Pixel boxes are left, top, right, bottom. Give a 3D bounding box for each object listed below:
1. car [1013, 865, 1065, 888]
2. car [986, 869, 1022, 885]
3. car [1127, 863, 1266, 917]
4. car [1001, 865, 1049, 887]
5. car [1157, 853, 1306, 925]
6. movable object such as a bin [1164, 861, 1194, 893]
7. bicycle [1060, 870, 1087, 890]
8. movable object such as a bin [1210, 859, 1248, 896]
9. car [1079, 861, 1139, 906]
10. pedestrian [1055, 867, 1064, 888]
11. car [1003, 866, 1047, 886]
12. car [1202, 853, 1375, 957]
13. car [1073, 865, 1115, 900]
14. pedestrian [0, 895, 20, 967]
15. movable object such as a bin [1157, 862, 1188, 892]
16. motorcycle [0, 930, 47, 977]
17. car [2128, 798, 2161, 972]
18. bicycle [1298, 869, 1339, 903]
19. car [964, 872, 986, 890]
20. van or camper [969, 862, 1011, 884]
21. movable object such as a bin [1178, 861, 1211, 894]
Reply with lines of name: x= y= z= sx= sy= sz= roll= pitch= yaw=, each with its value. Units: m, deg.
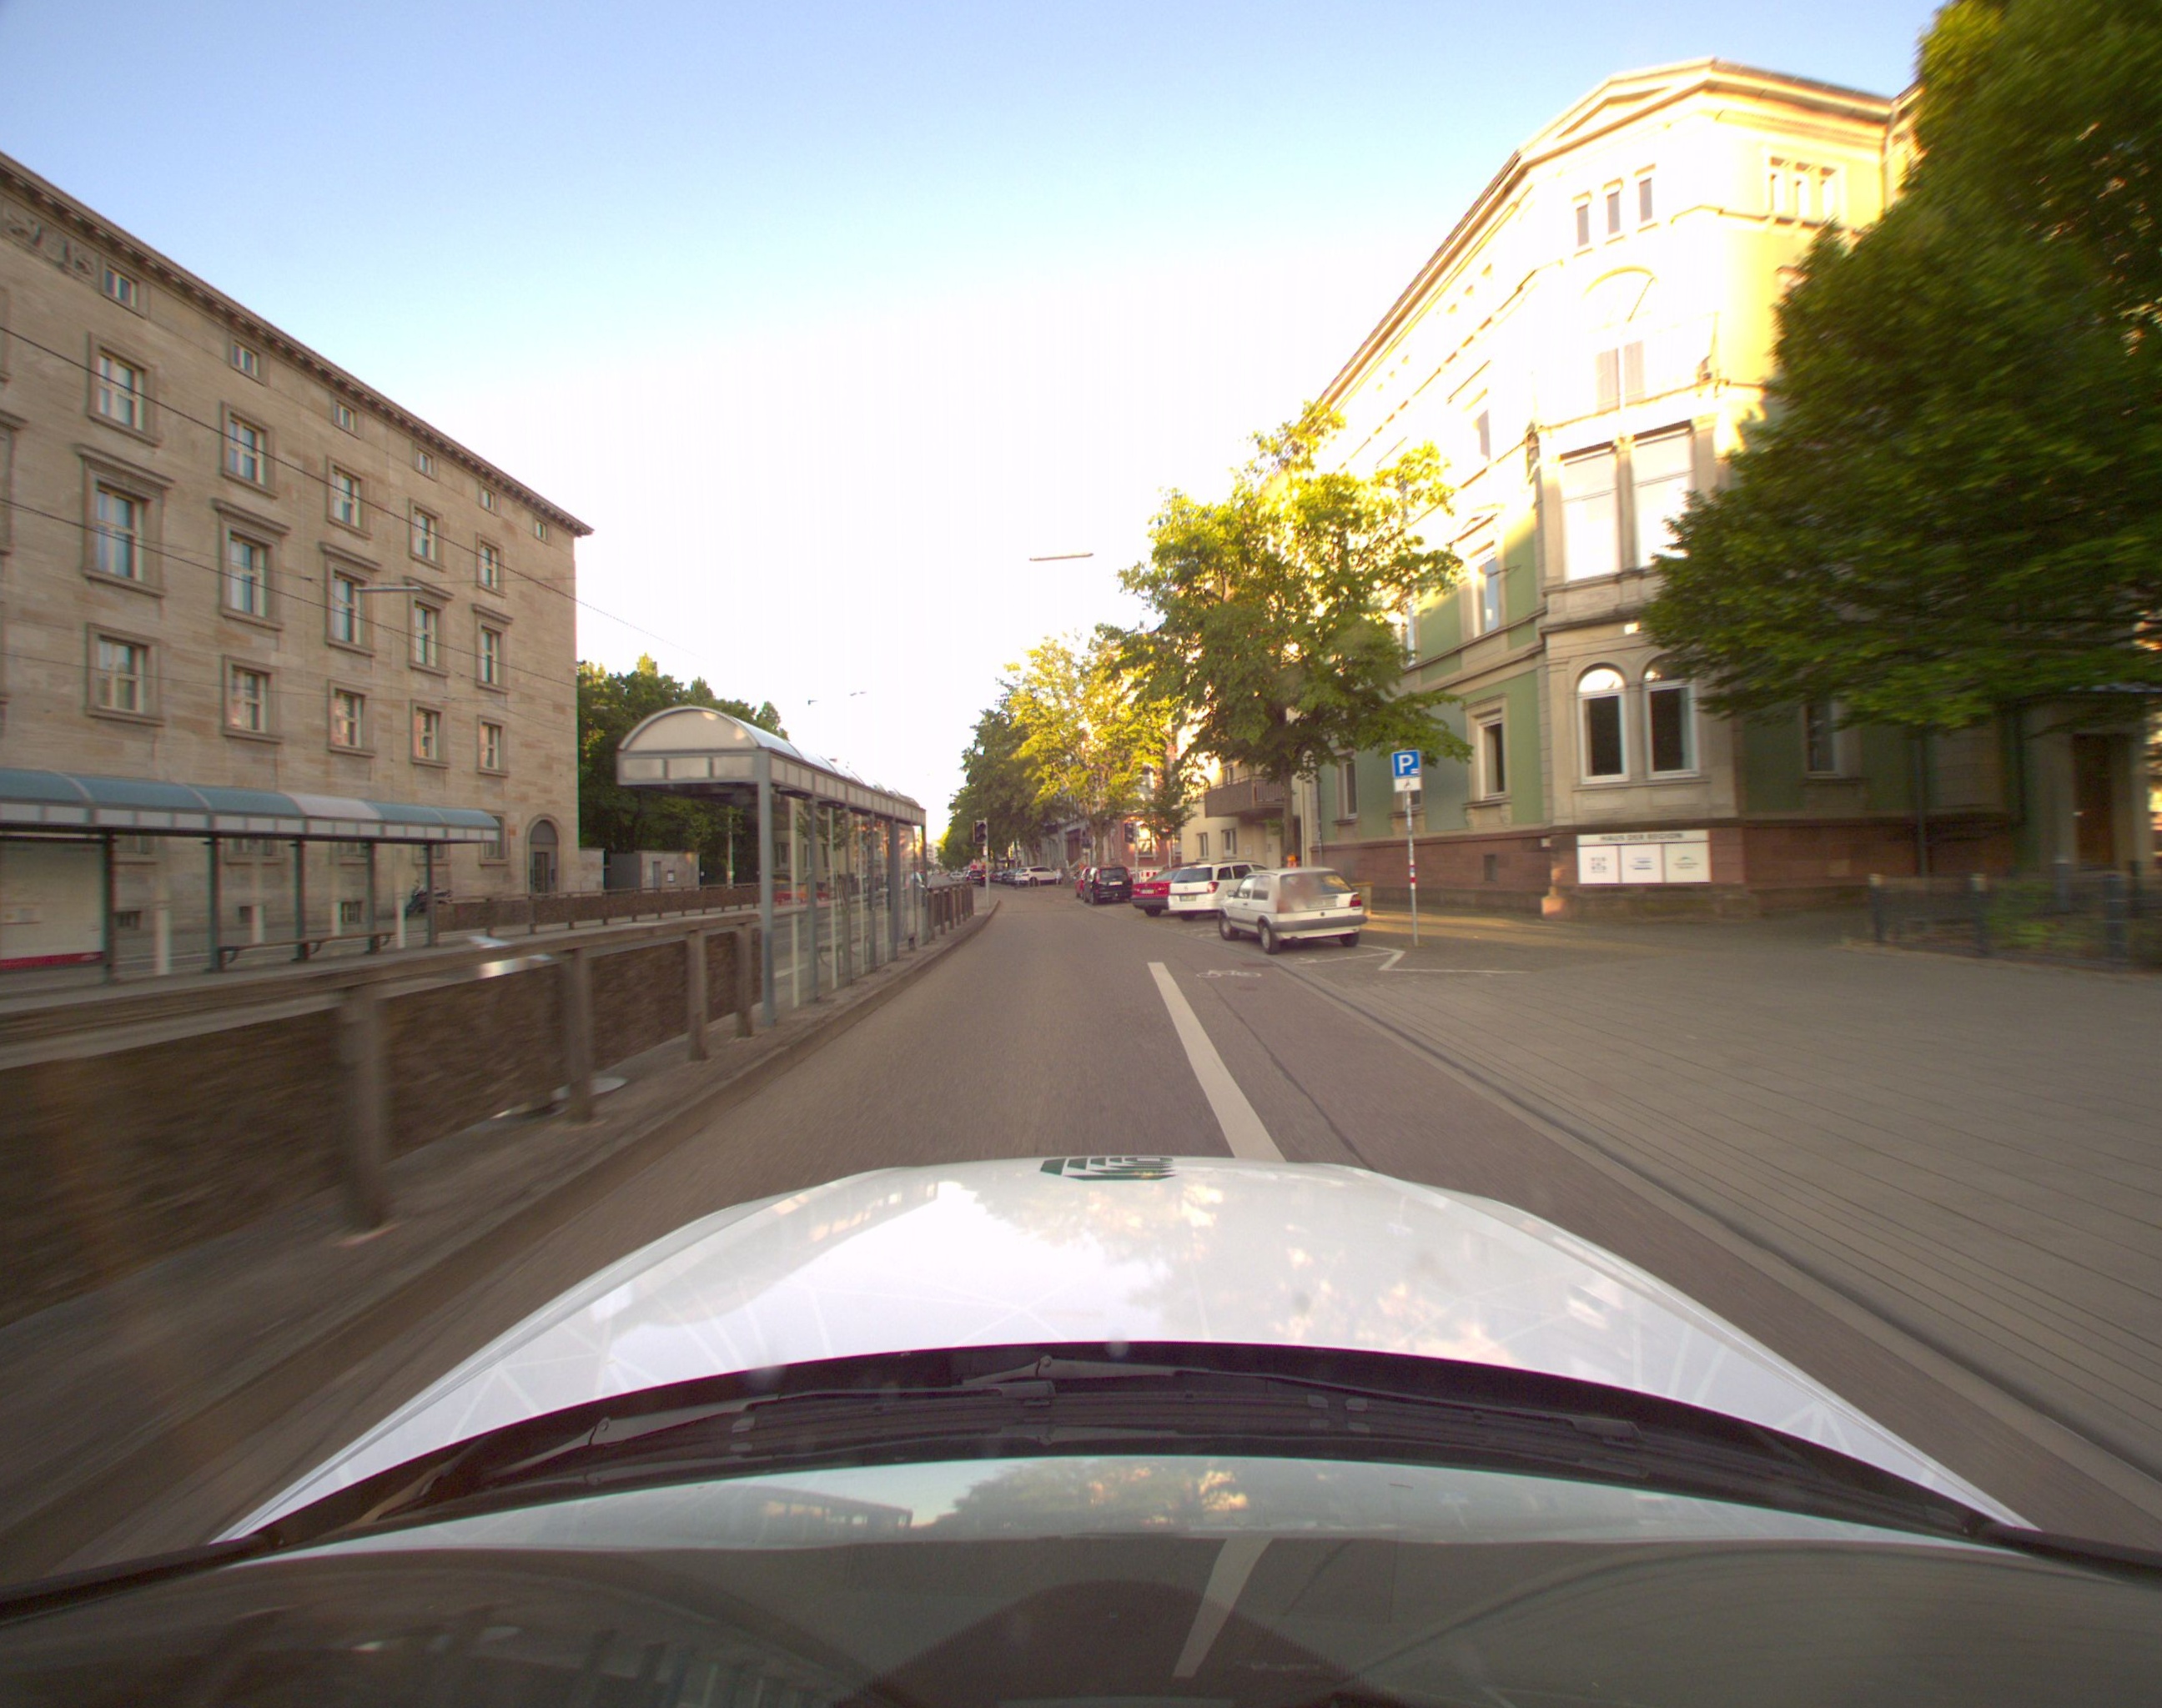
car: x=-3.381 y=1.821 z=66.457 sx=3.977 sy=1.627 sz=1.654 roll=-4 pitch=0 yaw=-41
car: x=-9.675 y=2.914 z=102.336 sx=3.974 sy=1.603 sz=1.819 roll=-6 pitch=0 yaw=-37
car: x=3.503 y=1.031 z=24.408 sx=4.230 sy=1.454 sz=1.626 roll=0 pitch=-2 yaw=-38
car: x=-5.064 y=2.029 z=74.076 sx=1.877 sy=1.668 sz=3.980 roll=-5 pitch=-1 yaw=42
car: x=4.145 y=0.878 z=22.019 sx=4.233 sy=1.725 sz=1.701 roll=0 pitch=-1 yaw=-42
movable object such as a bin: x=4.791 y=1.127 z=39.974 sx=1.073 sy=1.502 sz=1.313 roll=-1 pitch=-1 yaw=-13
bicycle: x=-0.502 y=1.739 z=55.133 sx=0.594 sy=1.266 sz=1.930 roll=-4 pitch=-2 yaw=45
movable object such as a bin: x=6.231 y=1.000 z=34.379 sx=1.114 sy=1.502 sz=1.476 roll=-1 pitch=-1 yaw=-11
car: x=1.072 y=1.209 z=33.617 sx=1.742 sy=1.632 sz=4.077 roll=-4 pitch=-1 yaw=-8
pedestrian: x=-1.674 y=1.819 z=63.572 sx=0.586 sy=1.609 sz=0.622 roll=-1 pitch=-1 yaw=-10
car: x=-5.530 y=2.157 z=80.351 sx=3.977 sy=1.603 sz=1.818 roll=-3 pitch=-2 yaw=-43
car: x=3.697 y=0.878 z=15.285 sx=1.679 sy=1.552 sz=3.989 roll=-5 pitch=-1 yaw=-8
car: x=0.598 y=1.351 z=39.641 sx=1.563 sy=1.536 sz=3.685 roll=-4 pitch=-1 yaw=-6
pedestrian: x=-22.509 y=1.589 z=16.701 sx=0.471 sy=1.471 sz=0.777 roll=-2 pitch=-1 yaw=3
movable object such as a bin: x=4.714 y=1.173 z=42.172 sx=1.141 sy=1.502 sz=1.592 roll=-1 pitch=-1 yaw=-11
motorcycle: x=-22.513 y=2.085 z=16.765 sx=0.475 sy=0.928 sz=1.512 roll=-2 pitch=-1 yaw=3
car: x=11.735 y=0.222 z=6.630 sx=3.968 sy=1.574 sz=1.805 roll=-2 pitch=0 yaw=2
bicycle: x=7.841 y=1.054 z=26.967 sx=0.651 sy=1.075 sz=1.550 roll=-1 pitch=-1 yaw=-11
car: x=-10.092 y=2.580 z=77.343 sx=1.882 sy=1.620 sz=3.984 roll=1 pitch=-2 yaw=-11
van or camper: x=-12.658 y=2.616 z=113.985 sx=2.060 sy=2.530 sz=5.583 roll=-6 pitch=-1 yaw=45
movable object such as a bin: x=5.392 y=1.122 z=38.731 sx=1.141 sy=1.502 sz=1.265 roll=-1 pitch=-1 yaw=-11
